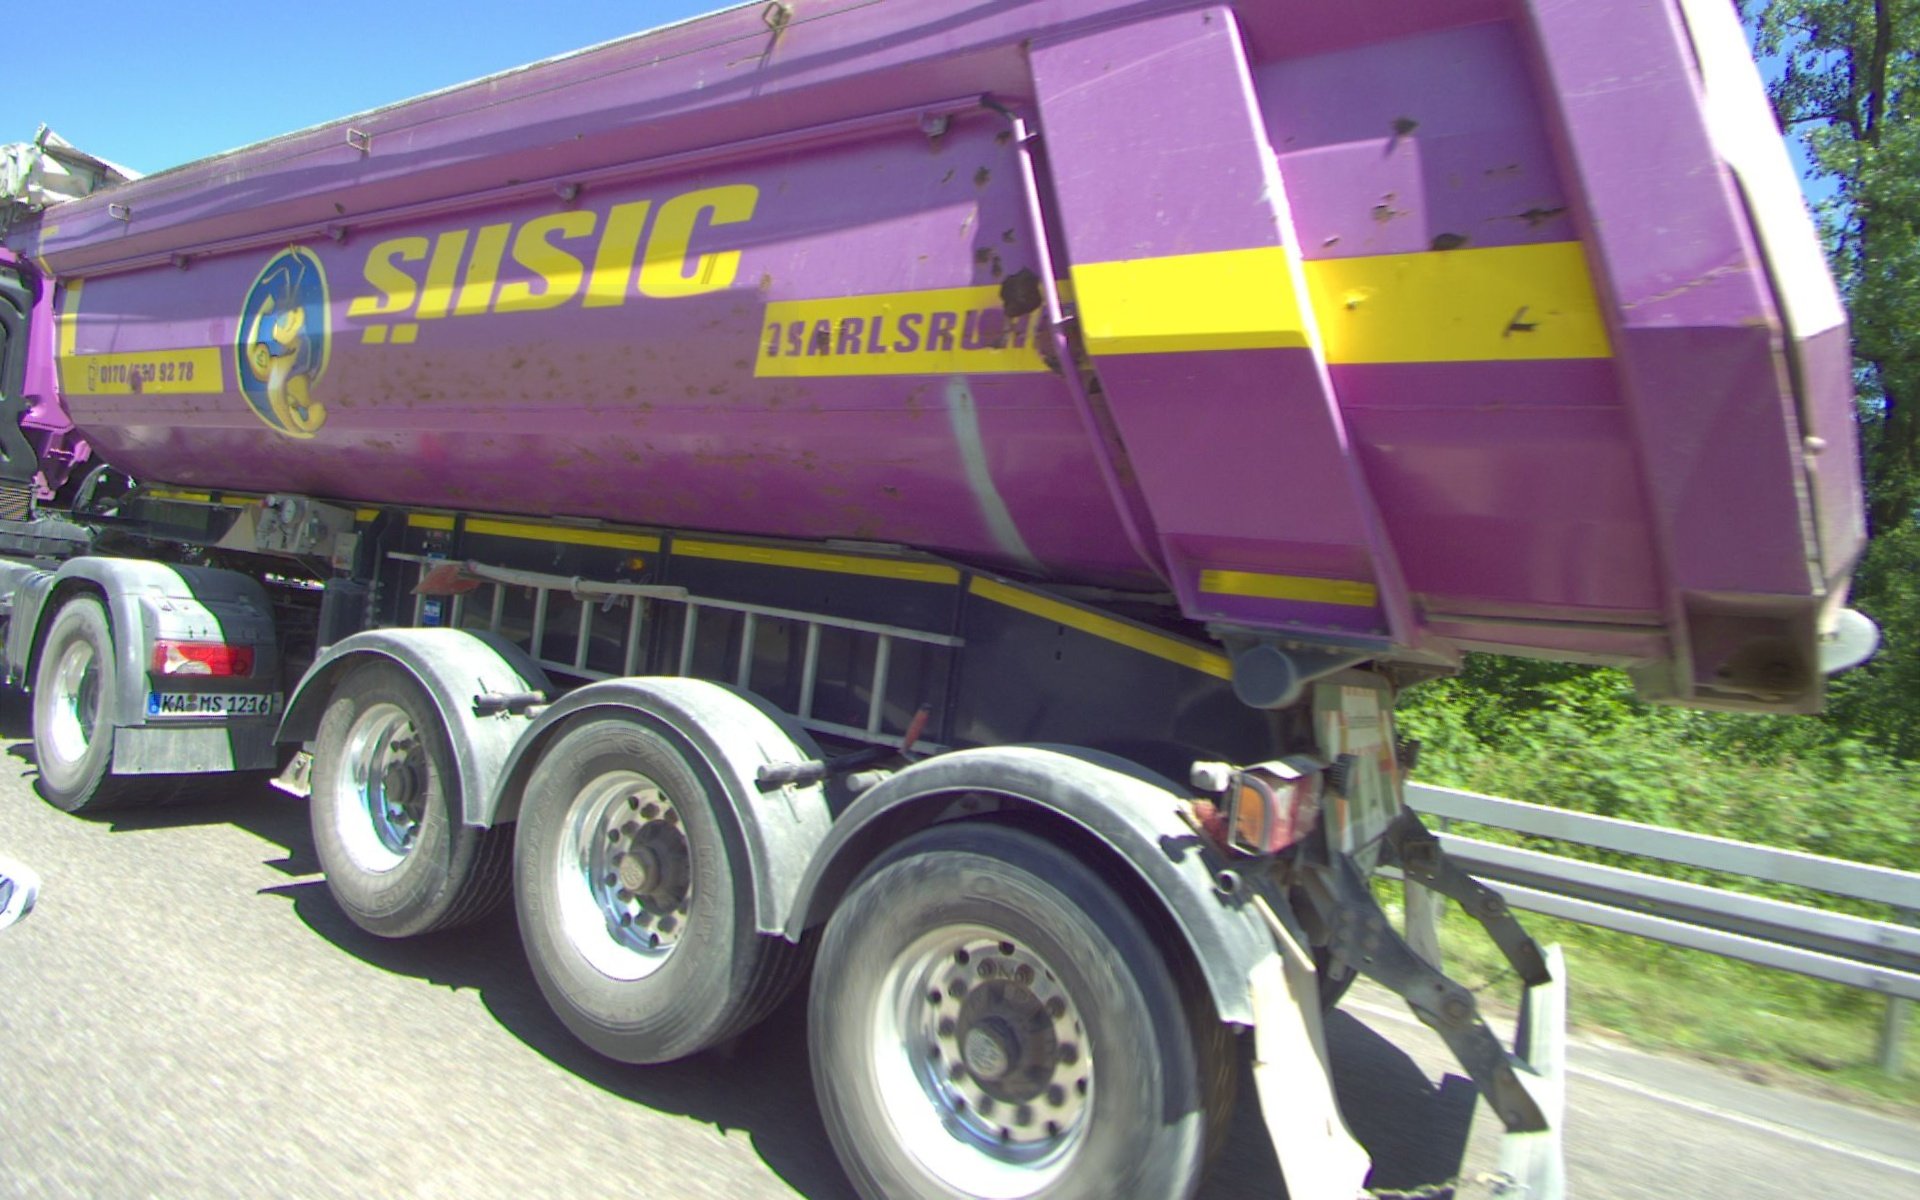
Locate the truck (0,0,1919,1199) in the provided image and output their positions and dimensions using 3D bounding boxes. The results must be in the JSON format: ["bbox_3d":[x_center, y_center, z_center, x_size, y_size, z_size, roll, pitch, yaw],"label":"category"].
[{"bbox_3d":[-3.275,-0.727,5.667,12.162,3.977,2.725,7,-1,31],"label":"truck"}]
